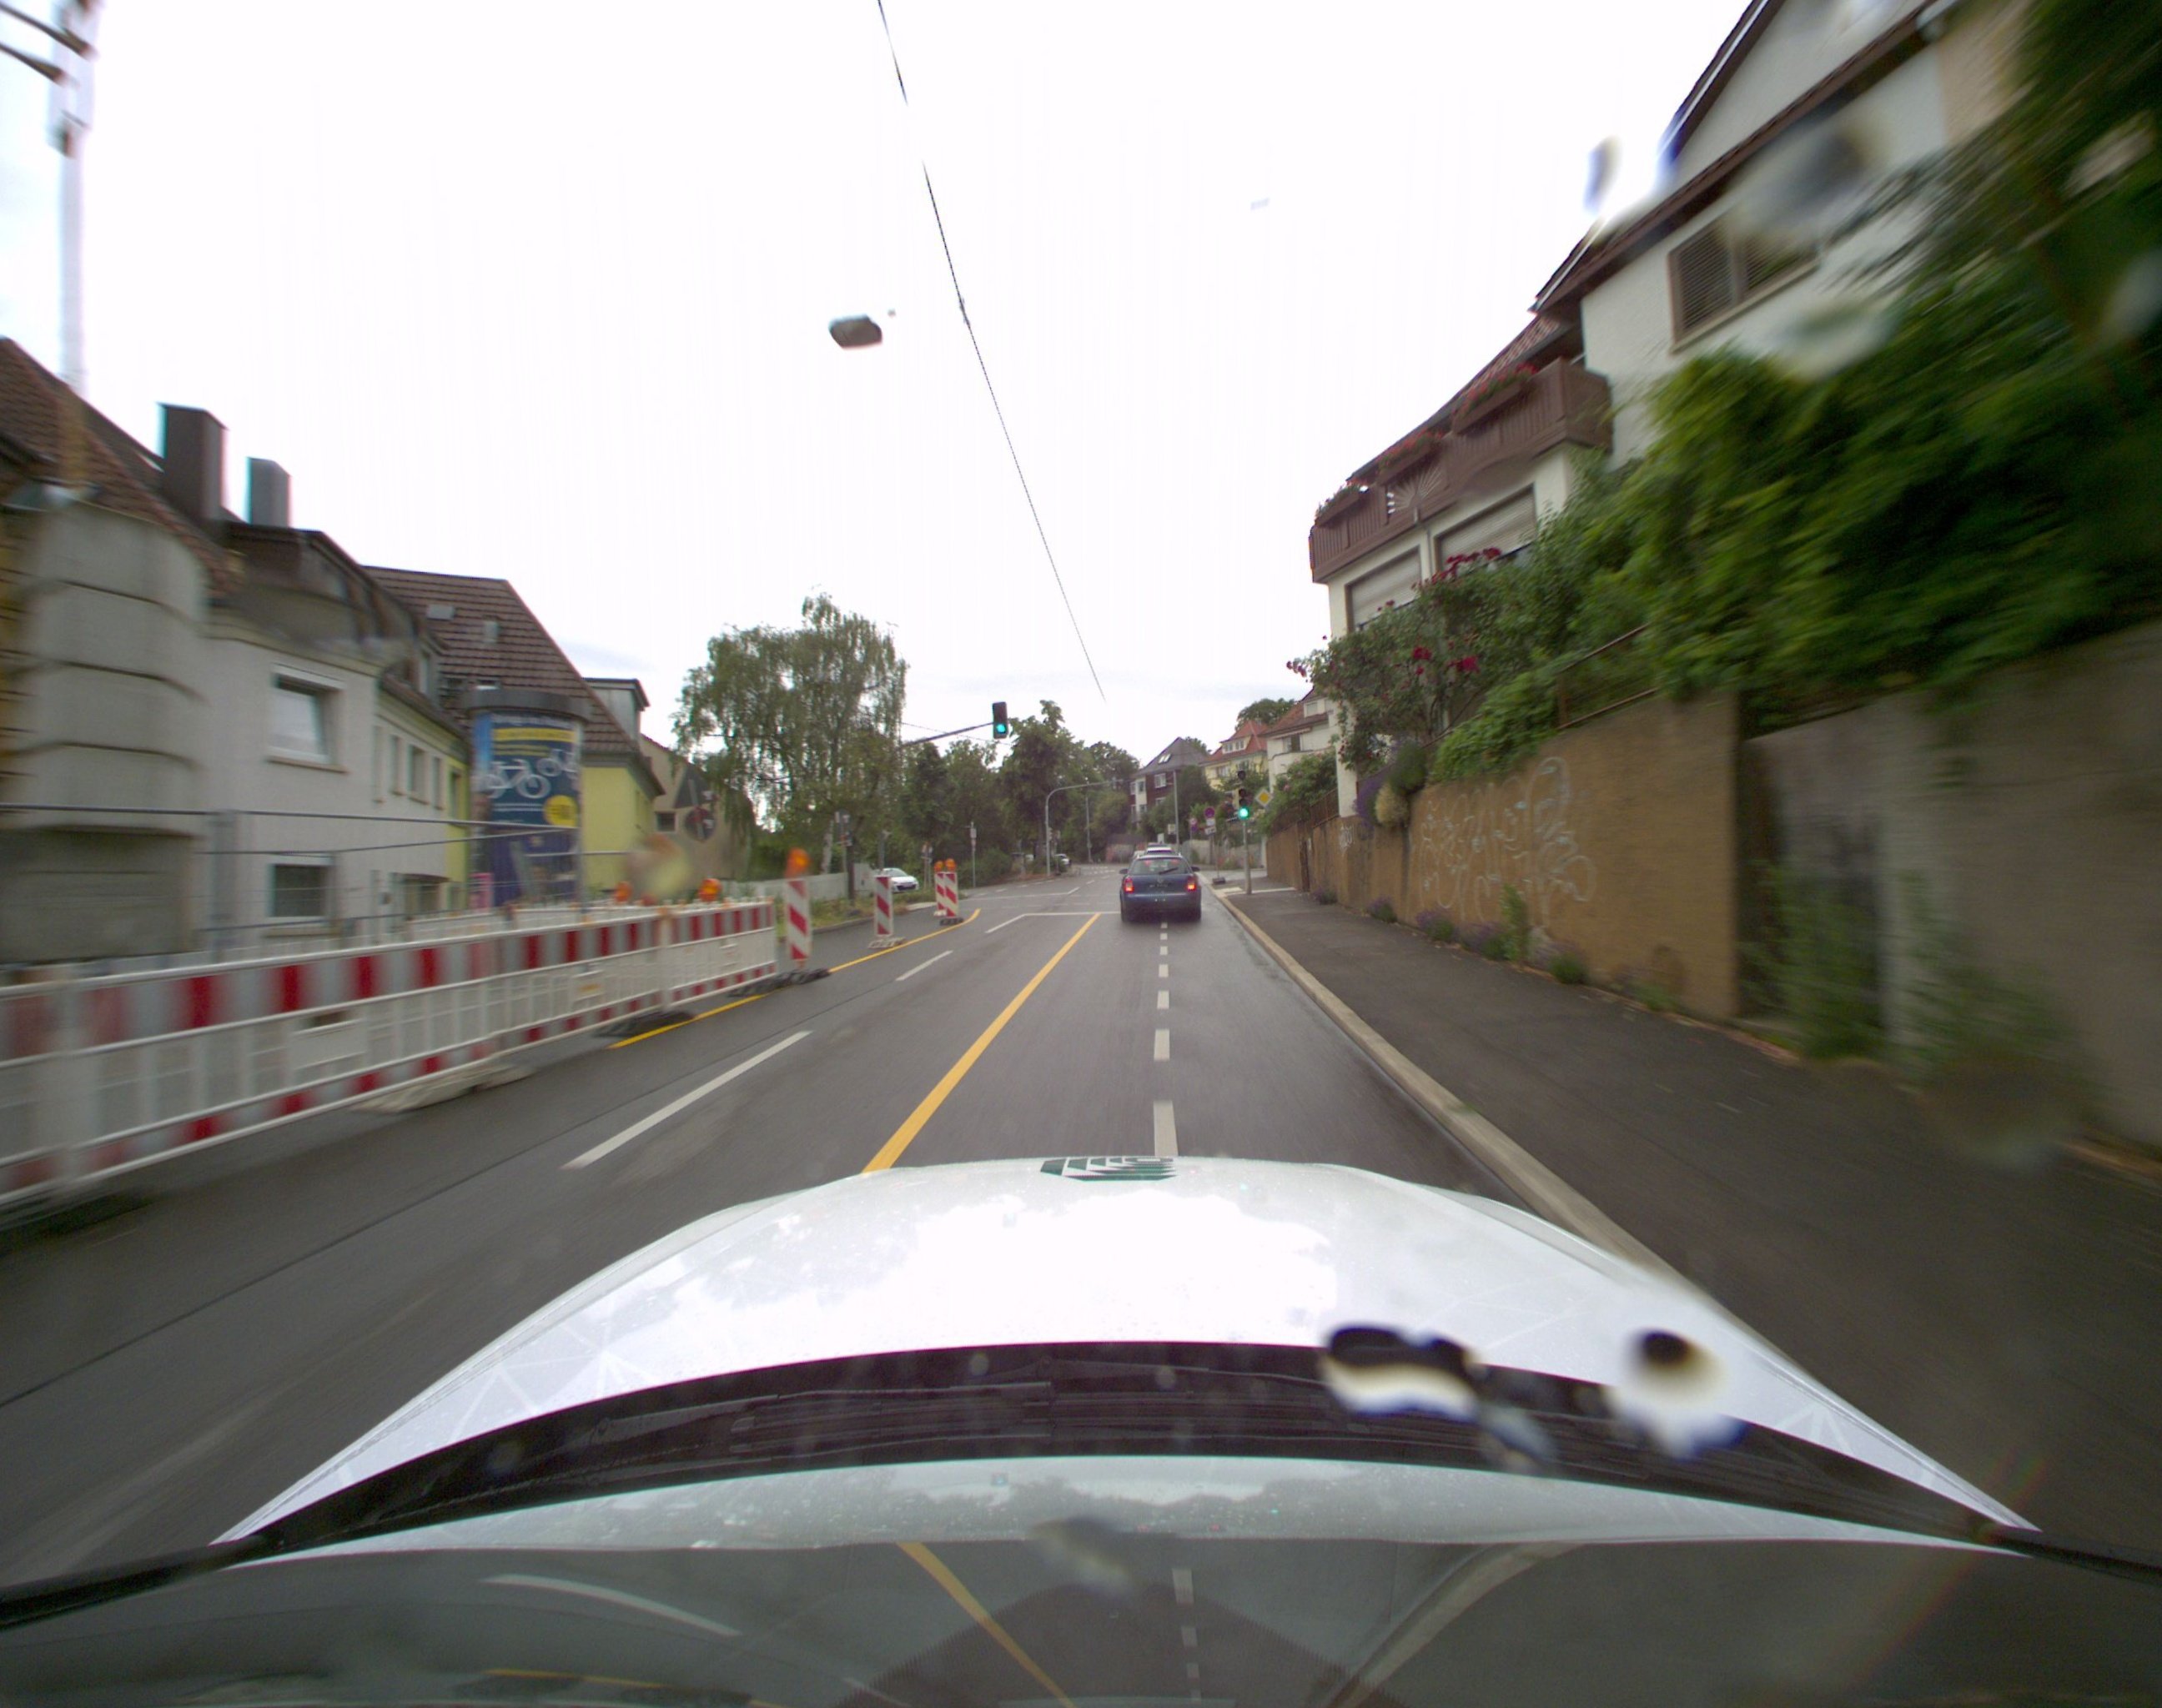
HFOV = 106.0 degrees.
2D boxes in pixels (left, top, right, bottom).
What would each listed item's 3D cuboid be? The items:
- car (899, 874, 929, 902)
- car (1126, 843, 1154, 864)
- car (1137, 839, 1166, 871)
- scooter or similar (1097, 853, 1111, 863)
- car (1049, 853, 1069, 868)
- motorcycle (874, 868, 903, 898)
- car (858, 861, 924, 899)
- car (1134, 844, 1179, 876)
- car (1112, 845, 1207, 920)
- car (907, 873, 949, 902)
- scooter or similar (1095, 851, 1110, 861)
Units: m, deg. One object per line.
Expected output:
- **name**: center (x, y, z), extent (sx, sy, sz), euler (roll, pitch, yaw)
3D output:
- **car**: center (-12.870, 2.583, 62.625), extent (1.753, 2.014, 3.973), euler (-1, -1, -20)
- **car**: center (4.833, -0.070, 66.956), extent (1.762, 1.570, 4.027), euler (-4, 0, -2)
- **car**: center (4.612, 0.023, 53.365), extent (1.722, 1.894, 4.061), euler (-4, 0, 5)
- **scooter or similar**: center (3.084, 0.514, 109.526), extent (1.832, 1.315, 0.598), euler (2, -4, -7)
- **car**: center (-2.287, 0.644, 83.421), extent (1.672, 1.426, 3.991), euler (-4, 0, -7)
- **motorcycle**: center (-8.030, 1.184, 34.087), extent (0.588, 1.131, 1.845), euler (-4, 0, 3)
- **car**: center (-9.570, 1.326, 40.784), extent (1.697, 1.508, 3.966), euler (-5, -1, -37)
- **car**: center (3.430, 0.291, 36.830), extent (1.899, 1.388, 4.357), euler (0, -1, 6)
- **car**: center (1.900, 0.578, 18.598), extent (1.766, 1.439, 4.013), euler (-2, 1, 11)
- **car**: center (-10.885, 2.350, 57.815), extent (1.851, 1.749, 3.966), euler (-4, 2, -26)
- **scooter or similar**: center (2.837, 0.251, 108.471), extent (1.832, 1.315, 0.598), euler (2, -4, -7)
